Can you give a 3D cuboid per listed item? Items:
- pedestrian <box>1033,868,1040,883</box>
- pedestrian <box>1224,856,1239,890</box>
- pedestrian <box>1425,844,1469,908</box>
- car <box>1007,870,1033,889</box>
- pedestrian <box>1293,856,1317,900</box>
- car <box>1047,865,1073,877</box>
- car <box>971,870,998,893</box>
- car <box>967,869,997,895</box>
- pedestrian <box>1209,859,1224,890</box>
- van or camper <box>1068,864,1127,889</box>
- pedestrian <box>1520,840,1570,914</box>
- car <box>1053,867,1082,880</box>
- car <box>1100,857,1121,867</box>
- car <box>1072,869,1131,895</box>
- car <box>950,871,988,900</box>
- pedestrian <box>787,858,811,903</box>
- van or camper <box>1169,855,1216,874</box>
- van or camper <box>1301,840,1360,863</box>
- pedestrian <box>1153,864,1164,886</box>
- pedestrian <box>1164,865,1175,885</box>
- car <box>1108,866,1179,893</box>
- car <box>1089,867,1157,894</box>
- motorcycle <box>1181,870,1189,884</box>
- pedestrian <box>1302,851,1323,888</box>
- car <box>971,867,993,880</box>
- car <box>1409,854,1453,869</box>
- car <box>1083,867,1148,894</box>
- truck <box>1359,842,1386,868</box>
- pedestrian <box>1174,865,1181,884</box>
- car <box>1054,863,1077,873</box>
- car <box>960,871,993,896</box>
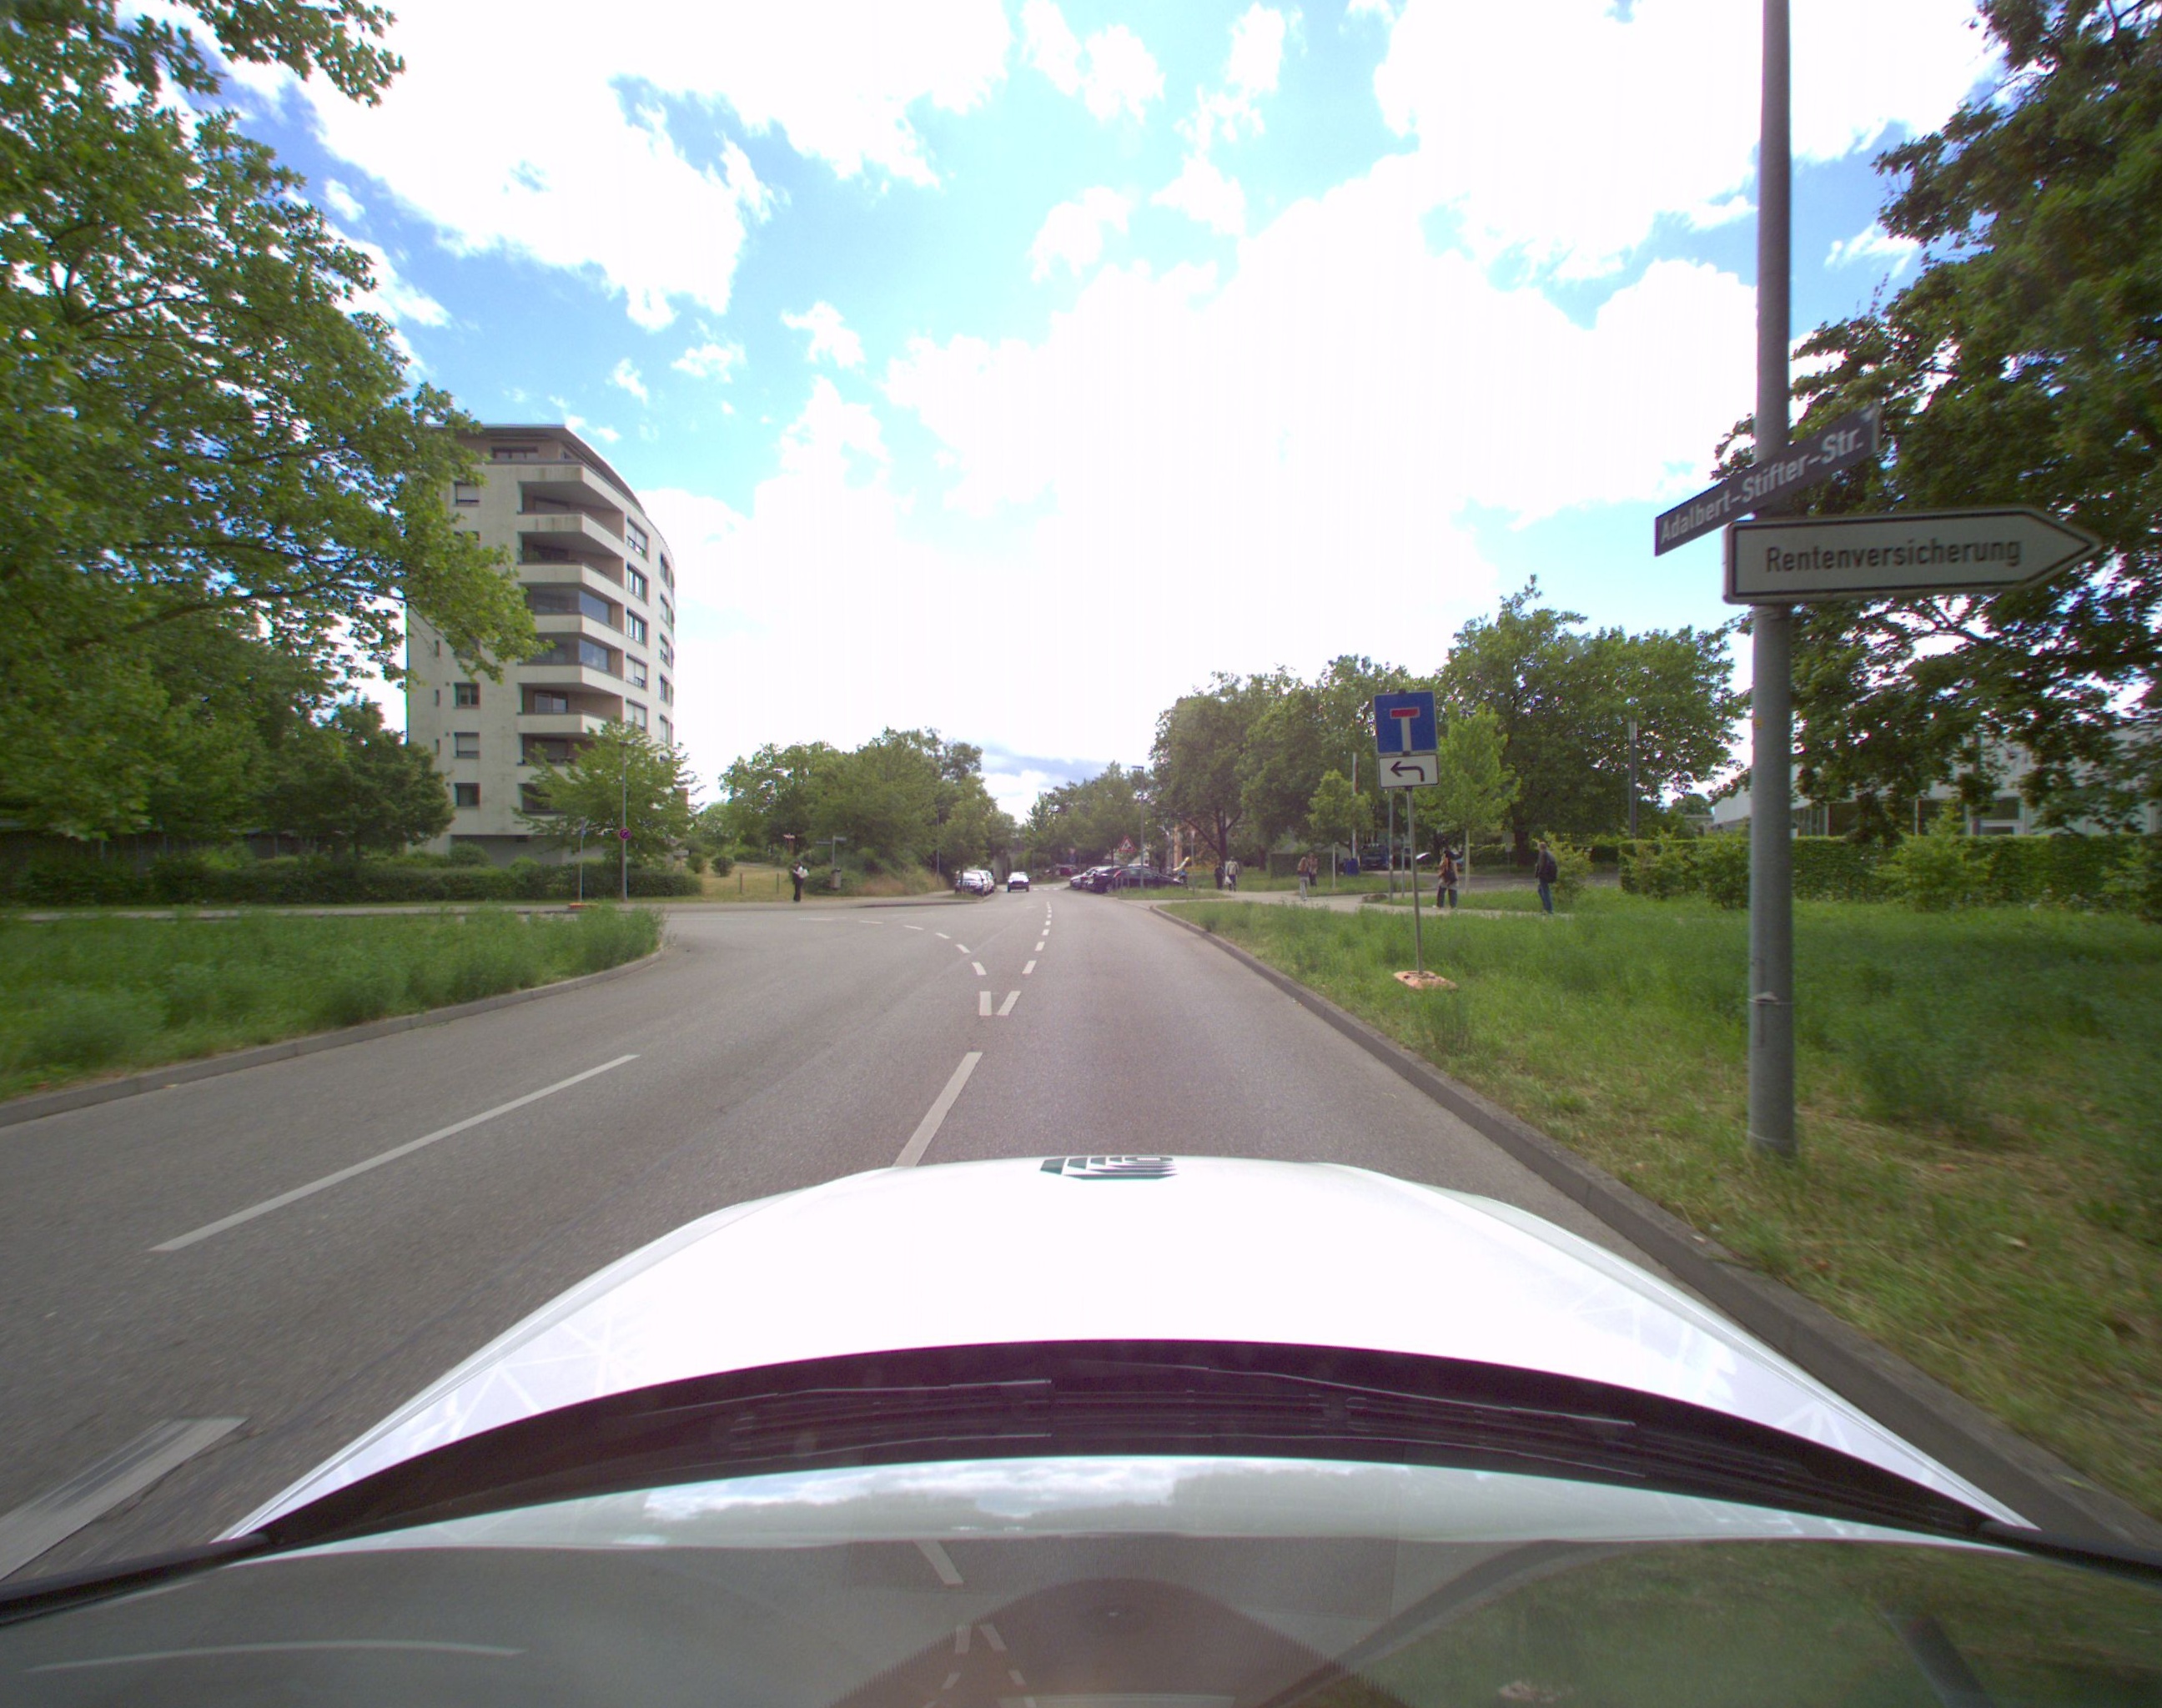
[{"bbox_3d":[-5.649,2.682,103.532,0.721,1.864,0.648,-1,1,-10],"label":"pedestrian"},{"bbox_3d":[7.915,0.996,42.842,0.796,1.722,0.825,0,1,10],"label":"pedestrian"},{"bbox_3d":[10.097,0.581,22.478,0.776,1.722,0.819,-1,1,-16],"label":"pedestrian"},{"bbox_3d":[-5.096,2.137,68.391,1.969,1.464,3.931,-1,-1,-2],"label":"car"},{"bbox_3d":[8.480,0.891,30.842,0.770,1.596,0.825,-1,1,9],"label":"pedestrian"},{"bbox_3d":[-2.986,2.414,113.992,3.536,1.654,1.617,0,-1,-7],"label":"car"},{"bbox_3d":[-7.579,2.150,64.262,1.733,1.711,4.078,-1,-1,-2],"label":"car"},{"bbox_3d":[-7.087,1.972,58.460,1.761,1.753,3.931,-1,0,-2],"label":"car"},{"bbox_3d":[7.514,1.130,45.141,0.770,1.722,0.825,0,1,10],"label":"pedestrian"},{"bbox_3d":[1.345,1.852,67.460,4.668,1.870,1.767,-1,1,-7],"label":"van or camper"},{"bbox_3d":[11.066,0.530,19.463,0.771,1.722,0.824,0,1,5],"label":"pedestrian"},{"bbox_3d":[-1.772,2.568,107.376,3.550,1.564,1.611,0,-1,-19],"label":"car"},{"bbox_3d":[5.203,1.368,143.625,3.550,1.654,1.611,0,-1,-19],"label":"car"},{"bbox_3d":[1.388,1.911,55.533,3.908,1.630,1.772,-1,1,1],"label":"car"},{"bbox_3d":[-6.511,1.825,47.813,1.761,1.500,3.932,-1,0,-2],"label":"car"},{"bbox_3d":[-11.205,1.050,32.351,0.824,1.722,0.771,-1,1,-24],"label":"pedestrian"},{"bbox_3d":[13.452,1.256,98.379,5.281,2.041,2.058,-1,1,-4],"label":"van or camper"},{"bbox_3d":[21.912,-0.191,71.450,4.628,1.914,1.783,0,1,30],"label":"van or camper"},{"bbox_3d":[5.409,1.462,57.023,0.687,1.504,0.753,0,-1,1],"label":"pedestrian"},{"bbox_3d":[6.179,1.467,57.017,0.687,1.424,0.753,0,-1,1],"label":"pedestrian"},{"bbox_3d":[3.464,1.452,45.872,3.908,1.469,1.771,-1,-3,1],"label":"car"},{"bbox_3d":[2.477,1.581,48.116,3.908,1.501,1.771,-1,-3,1],"label":"car"},{"bbox_3d":[6.396,1.433,50.082,0.450,0.794,1.267,-1,1,9],"label":"motorcycle"},{"bbox_3d":[11.026,0.728,38.774,0.767,1.694,0.828,0,1,33],"label":"pedestrian"},{"bbox_3d":[-10.525,2.039,86.498,1.209,1.337,2.576,1,-1,-40],"label":"car"},{"bbox_3d":[37.248,0.781,86.793,3.908,1.500,1.772,-1,1,1],"label":"car"},{"bbox_3d":[2.142,1.661,50.846,3.908,1.631,1.771,-1,-3,1],"label":"car"},{"bbox_3d":[27.286,0.067,76.184,2.307,2.295,5.925,0,1,20],"label":"truck"},{"bbox_3d":[5.963,1.237,50.450,0.393,1.152,0.486,0,1,10],"label":"pedestrian"},{"bbox_3d":[-2.459,2.228,128.947,3.524,1.654,1.623,0,-1,3],"label":"car"},{"bbox_3d":[-6.748,1.872,52.851,1.761,1.500,3.931,-1,-1,-2],"label":"car"}]
